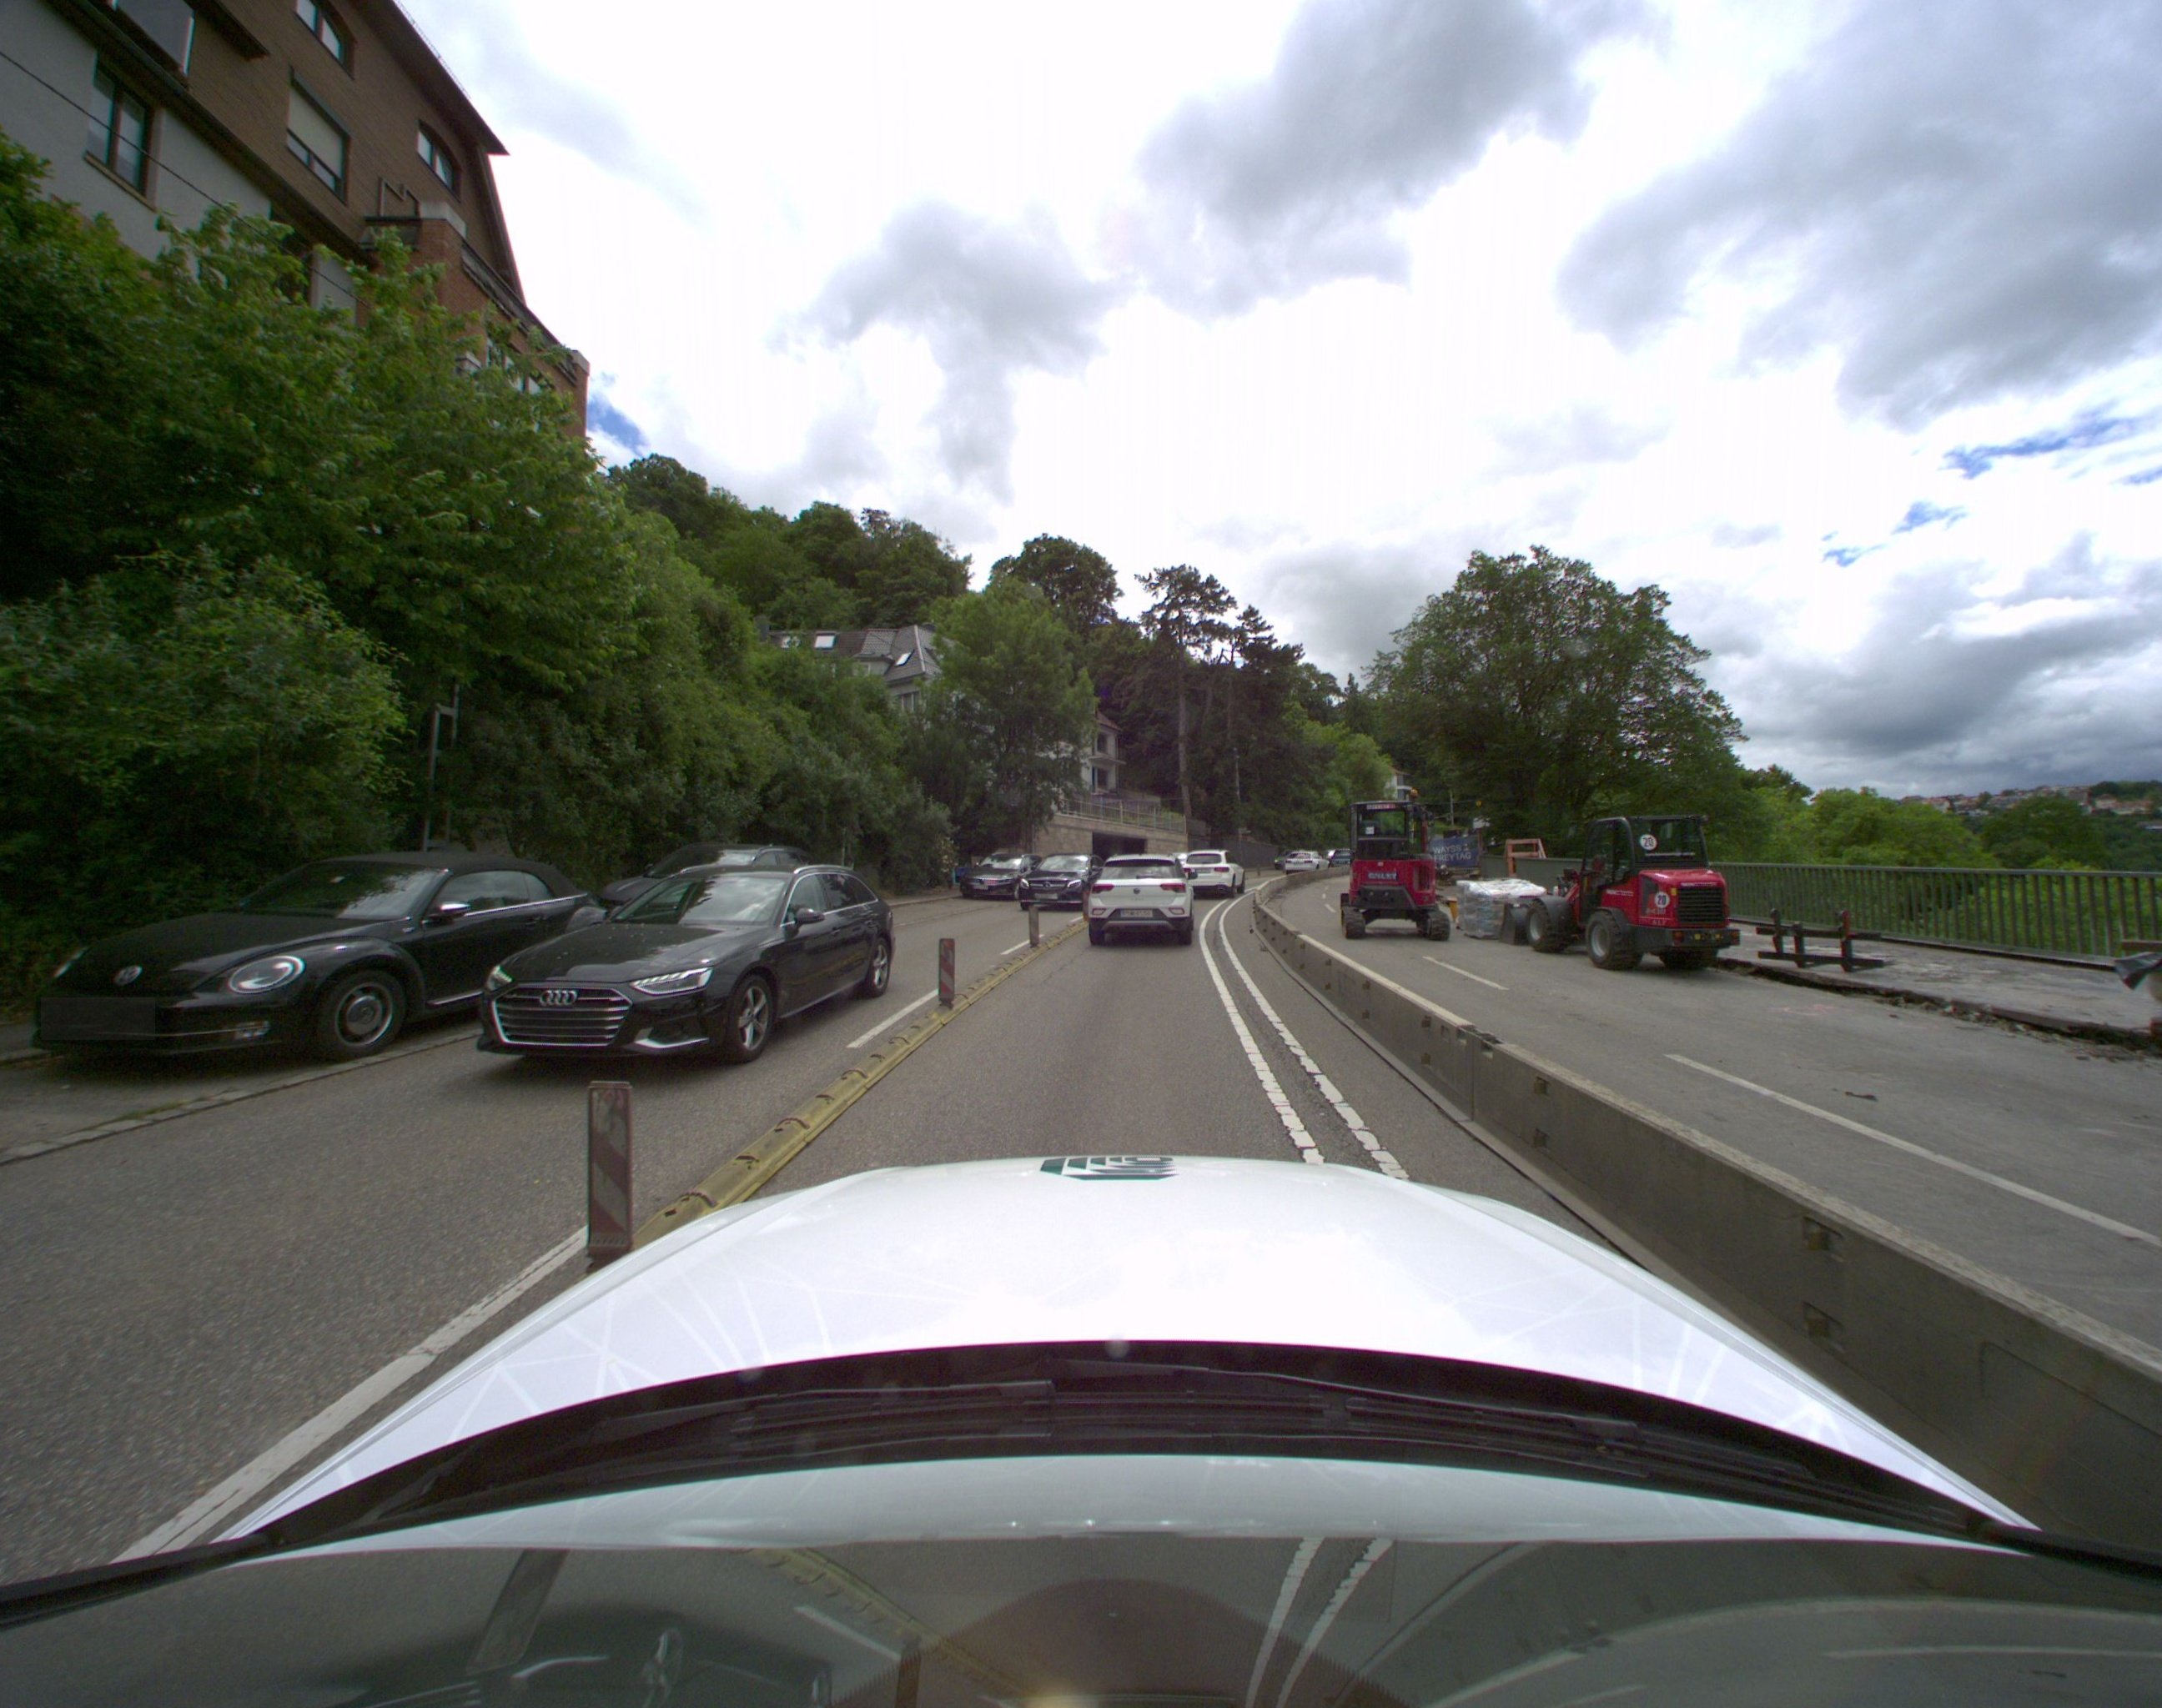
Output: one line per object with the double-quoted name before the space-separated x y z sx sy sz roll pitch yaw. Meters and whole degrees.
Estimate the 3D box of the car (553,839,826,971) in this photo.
"car" -5.611 0.646 12.366 1.678 1.606 4.195 2 0 7

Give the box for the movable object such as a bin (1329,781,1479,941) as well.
"movable object such as a bin" 6.179 0.116 16.206 2.195 2.663 4.964 0 0 15

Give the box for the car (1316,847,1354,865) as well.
"car" 21.249 0.155 68.056 1.750 1.435 4.336 1 1 36

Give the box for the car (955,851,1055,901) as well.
"car" -2.426 0.669 27.396 1.723 1.451 4.702 2 1 15

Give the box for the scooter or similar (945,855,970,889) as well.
"scooter or similar" -4.593 0.663 30.303 0.412 1.232 1.126 2 0 19

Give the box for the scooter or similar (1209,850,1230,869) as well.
"scooter or similar" 9.237 0.391 54.268 1.302 1.255 0.468 -1 0 5

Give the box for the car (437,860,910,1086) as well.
"car" -3.130 0.780 7.474 1.786 1.446 4.369 0 -1 6

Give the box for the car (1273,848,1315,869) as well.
"car" 15.659 0.326 59.778 1.750 1.435 4.336 -1 0 31

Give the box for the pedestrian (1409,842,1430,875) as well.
"pedestrian" 17.309 0.233 41.657 0.775 1.688 0.790 -1 0 36

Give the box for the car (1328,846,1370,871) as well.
"car" 19.151 0.312 58.036 1.792 1.663 4.026 -2 0 33

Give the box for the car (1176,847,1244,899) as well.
"car" 4.588 0.619 28.559 1.796 1.663 4.018 -2 0 16

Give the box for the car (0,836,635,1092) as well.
"car" -5.945 0.670 7.006 1.786 1.510 4.004 2 0 3

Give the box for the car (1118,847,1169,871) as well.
"car" 3.988 0.342 51.762 1.765 1.453 3.725 0 -2 31

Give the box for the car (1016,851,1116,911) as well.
"car" -0.326 0.712 23.677 1.754 1.568 4.247 0 0 15

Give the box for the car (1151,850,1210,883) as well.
"car" 4.856 0.571 39.366 1.752 1.518 4.048 0 0 23

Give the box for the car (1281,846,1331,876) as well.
"car" 13.509 0.380 48.786 1.792 1.663 4.025 -2 0 31

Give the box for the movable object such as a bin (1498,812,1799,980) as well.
"movable object such as a bin" 7.664 0.479 11.569 1.693 1.943 4.171 0 0 6

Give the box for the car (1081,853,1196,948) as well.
"car" 1.217 0.762 15.295 1.799 1.531 4.010 -1 0 9

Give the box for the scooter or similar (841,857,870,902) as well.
"scooter or similar" -6.241 0.690 22.559 0.347 1.213 1.048 2 0 8
